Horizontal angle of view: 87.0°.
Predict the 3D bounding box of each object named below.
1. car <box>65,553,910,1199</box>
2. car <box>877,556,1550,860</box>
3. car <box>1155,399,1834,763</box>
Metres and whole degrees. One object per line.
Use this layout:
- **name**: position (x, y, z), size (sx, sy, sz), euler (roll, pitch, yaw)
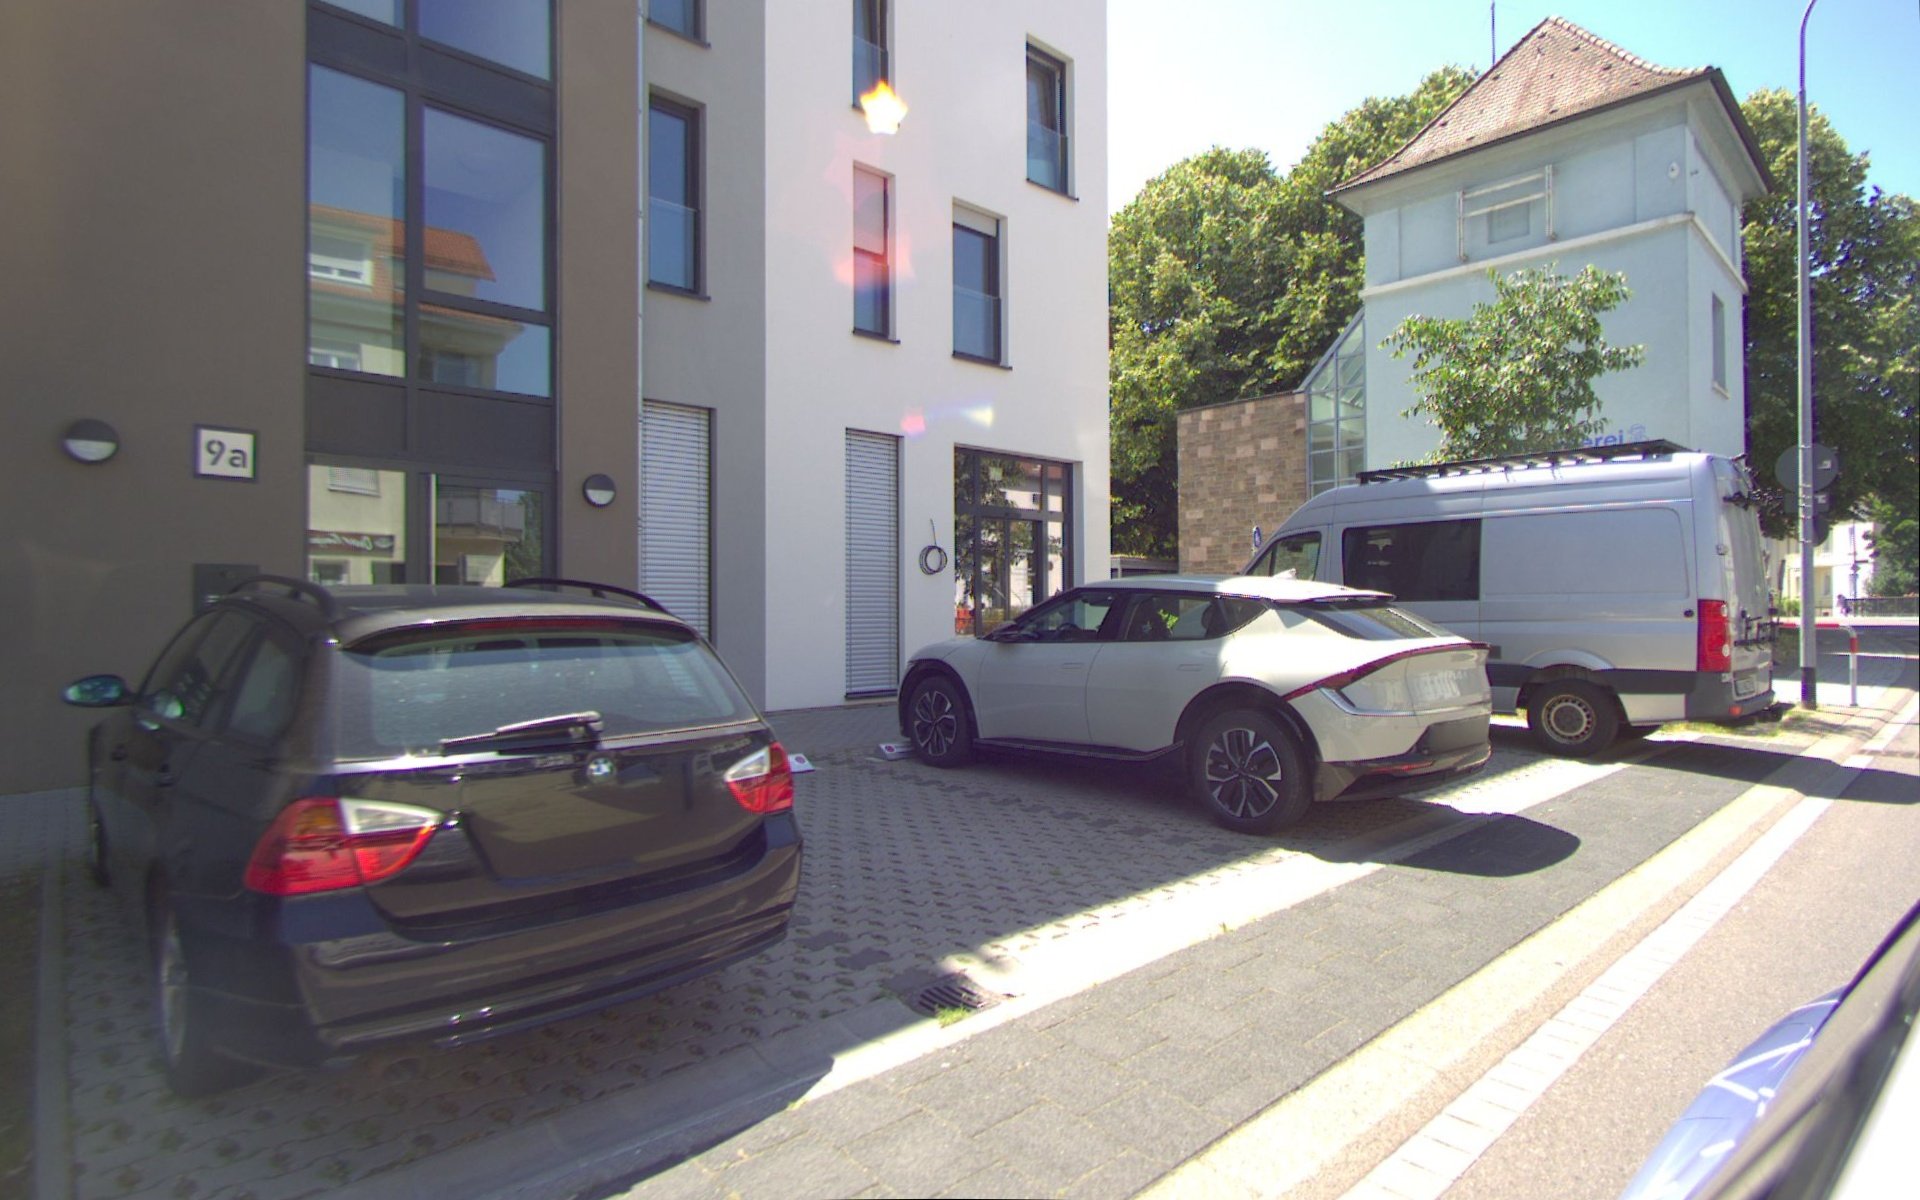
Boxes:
- **car**: position (-2.325, 0.612, 4.207), size (1.897, 1.434, 4.260), euler (-1, 1, -44)
- **car**: position (1.526, 0.537, 7.550), size (1.965, 1.548, 4.596), euler (-1, 0, -40)
- **car**: position (5.113, -0.156, 10.646), size (2.158, 2.767, 5.949), euler (-1, 0, -41)
